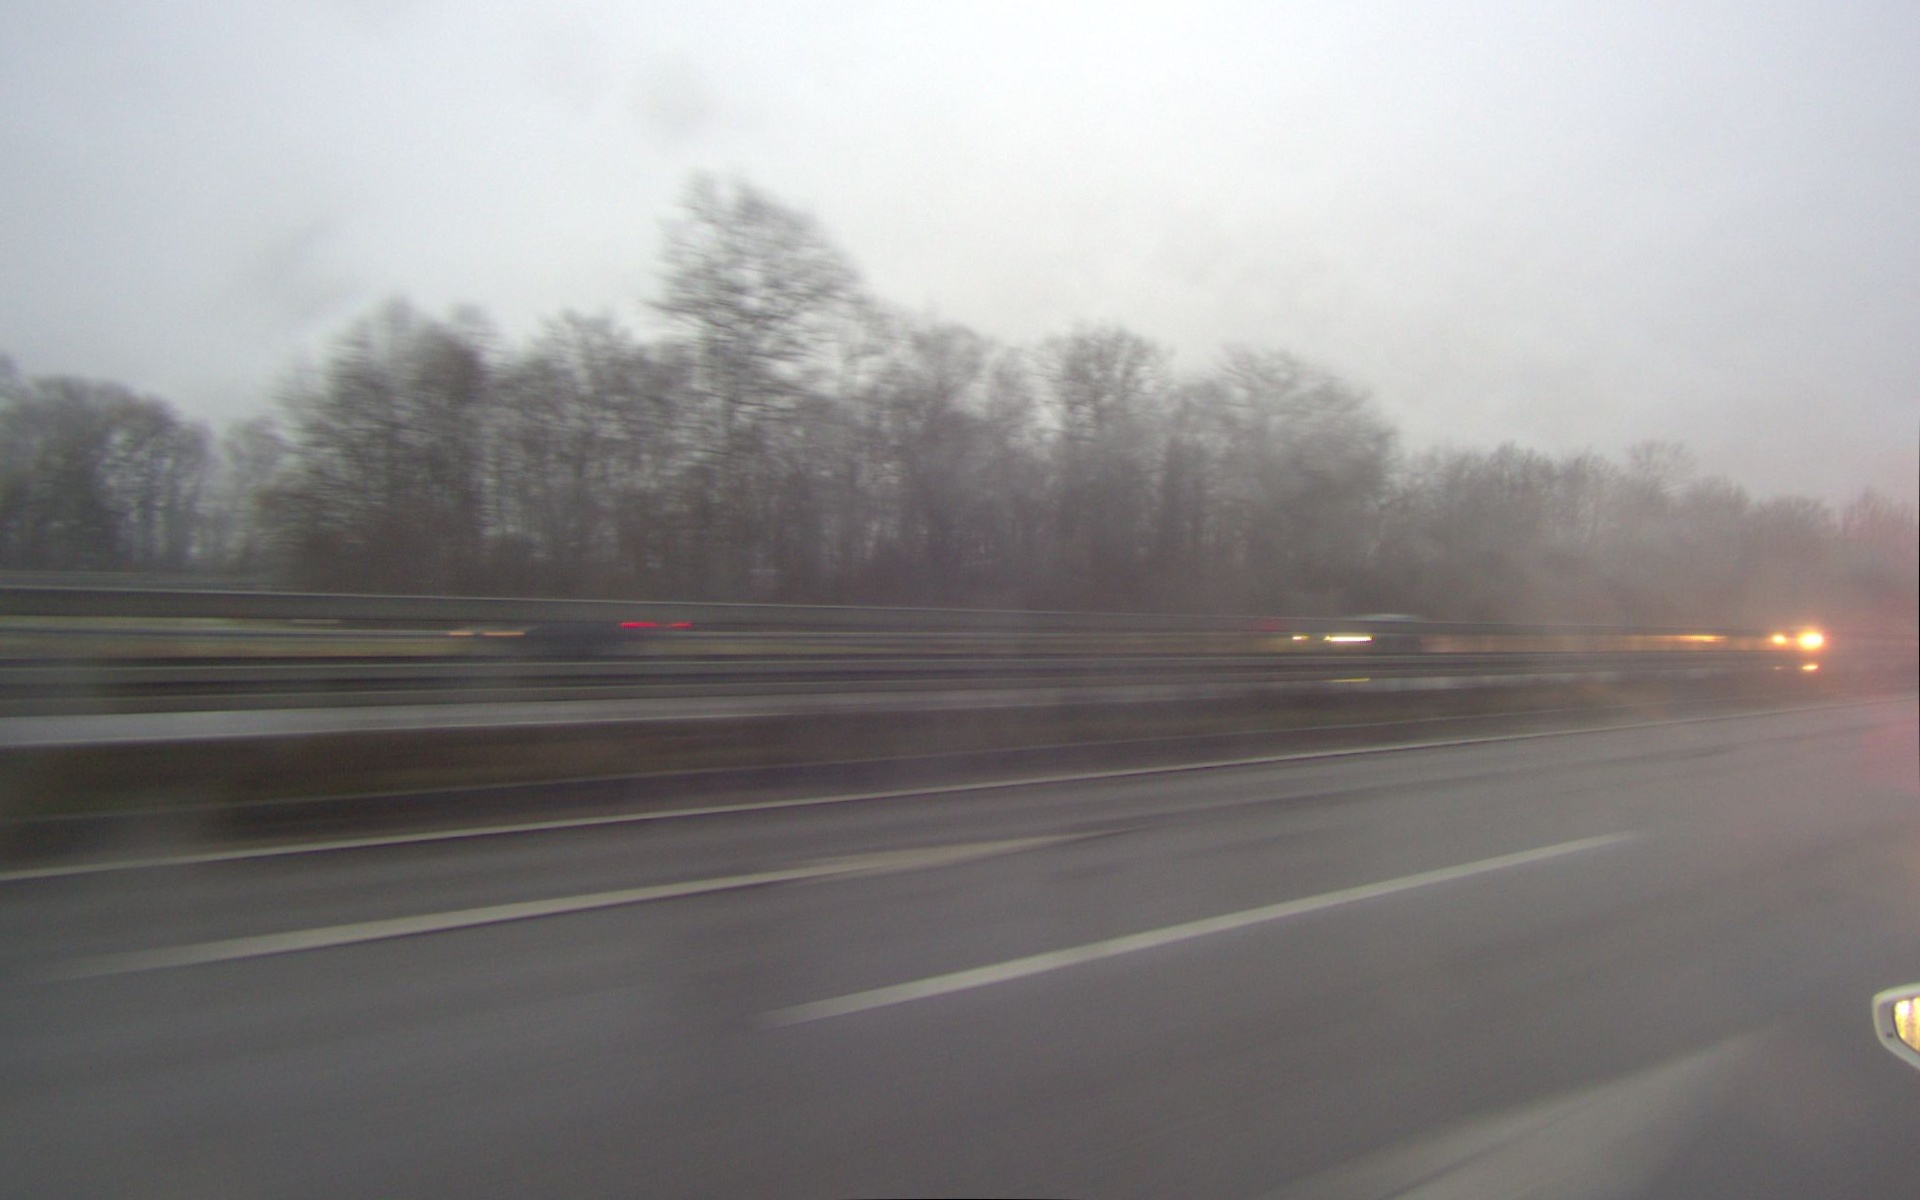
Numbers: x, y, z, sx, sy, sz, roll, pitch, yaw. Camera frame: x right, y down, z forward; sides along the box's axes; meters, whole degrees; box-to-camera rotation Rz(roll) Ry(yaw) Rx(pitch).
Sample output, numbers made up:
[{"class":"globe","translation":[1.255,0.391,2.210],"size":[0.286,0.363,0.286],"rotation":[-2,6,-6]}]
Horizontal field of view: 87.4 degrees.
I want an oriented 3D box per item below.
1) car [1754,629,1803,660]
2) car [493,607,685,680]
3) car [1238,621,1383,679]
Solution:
[{"class":"car","translation":[44.905,2.401,55.172],"size":[1.720,1.507,3.987],"rotation":[3,1,35]},{"class":"car","translation":[-8.574,1.006,23.517],"size":[3.930,1.507,1.745],"rotation":[2,1,-12]},{"class":"car","translation":[10.478,1.456,29.956],"size":[4.382,1.507,1.732],"rotation":[1,2,-34]}]
